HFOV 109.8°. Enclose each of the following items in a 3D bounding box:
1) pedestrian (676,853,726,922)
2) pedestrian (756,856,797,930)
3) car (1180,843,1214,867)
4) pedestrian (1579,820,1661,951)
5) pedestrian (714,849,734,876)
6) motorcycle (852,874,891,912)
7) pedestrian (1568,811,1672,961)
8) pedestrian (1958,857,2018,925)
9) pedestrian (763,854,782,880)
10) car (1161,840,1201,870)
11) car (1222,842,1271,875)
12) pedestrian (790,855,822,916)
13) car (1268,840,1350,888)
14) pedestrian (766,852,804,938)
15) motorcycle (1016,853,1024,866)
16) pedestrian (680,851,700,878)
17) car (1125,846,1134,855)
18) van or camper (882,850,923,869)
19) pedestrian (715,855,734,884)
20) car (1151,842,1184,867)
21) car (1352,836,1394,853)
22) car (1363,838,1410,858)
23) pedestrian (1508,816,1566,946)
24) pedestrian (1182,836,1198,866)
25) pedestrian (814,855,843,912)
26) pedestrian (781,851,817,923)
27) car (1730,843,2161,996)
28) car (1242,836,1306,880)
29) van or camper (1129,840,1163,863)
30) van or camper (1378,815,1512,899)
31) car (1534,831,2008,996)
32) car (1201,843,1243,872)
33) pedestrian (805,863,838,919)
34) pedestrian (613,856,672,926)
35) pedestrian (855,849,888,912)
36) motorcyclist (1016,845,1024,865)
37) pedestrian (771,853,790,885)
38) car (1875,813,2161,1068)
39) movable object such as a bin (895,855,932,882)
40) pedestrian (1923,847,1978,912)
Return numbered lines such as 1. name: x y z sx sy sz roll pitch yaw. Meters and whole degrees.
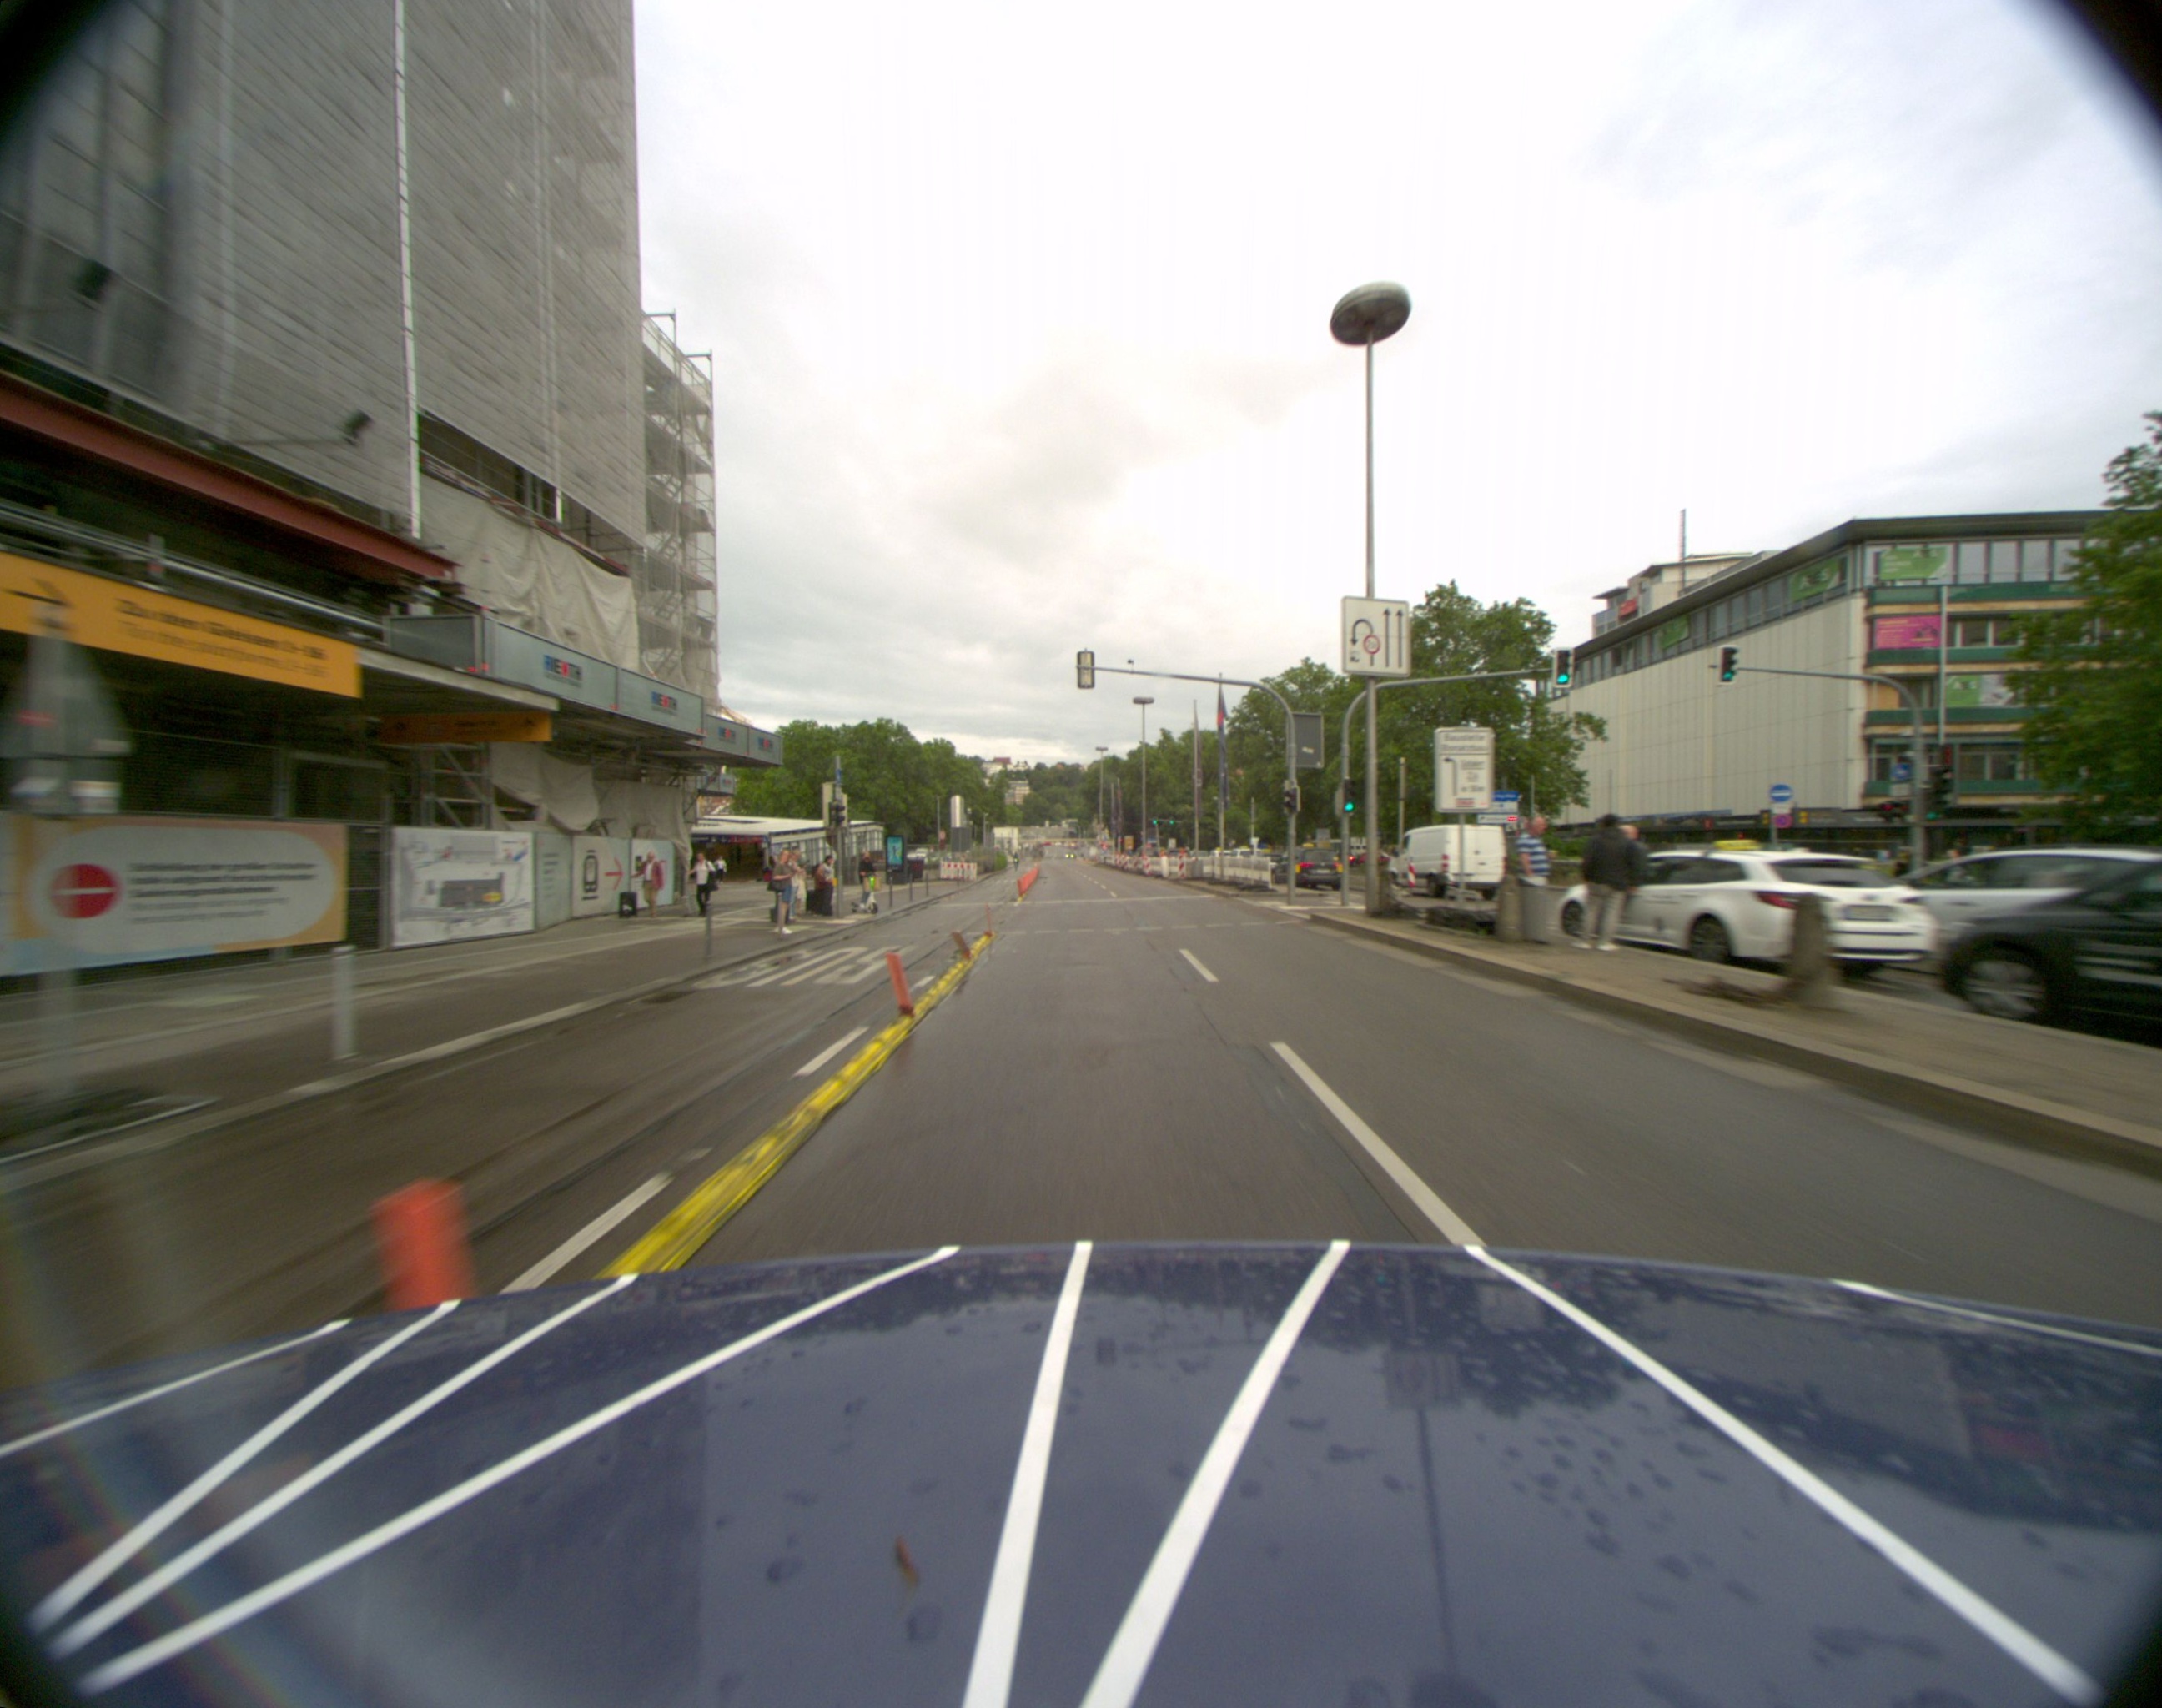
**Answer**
1. pedestrian: -9.602 0.837 19.227 0.737 1.668 0.957 2 1 2
2. pedestrian: -6.954 0.879 17.386 0.559 1.631 0.752 2 1 4
3. car: 9.003 0.085 59.398 1.895 1.692 4.421 -2 0 -1
4. pedestrian: 7.303 0.418 10.324 0.653 1.701 0.593 -2 1 1
5. pedestrian: -24.513 0.587 52.208 0.951 1.783 0.770 0 1 0
6. motorcycle: -5.941 1.086 21.537 0.587 1.015 1.236 -2 1 -40
7. pedestrian: 6.619 0.384 9.355 0.784 1.765 0.606 2 1 -9
8. pedestrian: 23.144 0.935 19.398 0.751 1.676 0.560 2 1 0
9. pedestrian: -19.069 0.790 47.013 0.857 1.584 0.709 -3 2 -5
10. car: 6.400 0.069 49.227 1.998 1.806 4.811 0 0 1
11. car: 9.093 0.234 42.022 1.788 1.712 4.483 0 0 1
12. pedestrian: -7.551 0.856 20.883 0.565 1.641 0.615 2 1 8
13. car: 8.884 0.348 30.030 1.908 1.689 4.500 -2 0 1
14. pedestrian: -6.200 0.841 15.946 0.560 1.749 0.751 2 1 -10
15. motorcycle: -6.120 0.555 76.426 0.730 1.221 2.160 0 0 -4
16. pedestrian: -26.545 0.722 51.625 0.951 1.783 0.770 0 1 0
17. car: 9.044 -0.661 143.025 1.682 1.533 3.174 0 0 3
18. van or camper: -22.982 0.764 97.767 2.391 2.387 6.046 0 -1 -44
19. pedestrian: -21.014 0.914 44.798 0.916 1.637 0.700 -1 1 -36
20. car: 6.471 0.045 57.243 1.998 1.760 4.811 0 0 1
21. car: 38.899 -1.271 101.332 4.828 2.002 2.037 -2 0 8
22. car: 28.941 -0.563 72.009 3.734 1.534 1.855 -3 2 40
23. pedestrian: 6.451 0.363 10.749 0.558 1.765 0.754 3 1 37
24. pedestrian: 7.272 -0.221 50.851 0.878 2.002 0.821 -1 1 -3
25. pedestrian: -7.401 0.852 22.308 0.559 1.641 0.615 2 1 4
26. pedestrian: -6.957 0.799 18.767 0.559 1.742 0.711 2 1 4
27. car: 12.112 0.700 10.750 1.934 1.681 4.682 1 1 3
28. car: 9.062 0.186 36.035 1.908 1.887 4.523 -2 0 1
29. van or camper: 5.528 -0.232 65.276 1.951 1.809 5.389 1 0 -4
30. van or camper: 12.193 0.068 25.952 1.998 2.500 5.370 2 1 1
31. car: 8.369 0.587 10.068 2.019 1.612 4.843 1 0 3
32. car: 9.256 0.199 50.315 1.919 1.840 4.565 0 0 0
33. pedestrian: -6.990 0.987 20.461 0.559 1.441 0.711 2 1 4
34. pedestrian: -10.910 0.893 18.954 0.734 1.672 1.110 -1 1 5
35. pedestrian: -5.937 0.731 21.520 0.582 1.731 0.819 -2 1 -40
36. motorcyclist: -6.106 0.127 76.190 0.726 2.024 0.587 0 0 -4
37. pedestrian: -19.006 0.932 48.100 0.806 2.002 0.765 -3 2 -5
38. car: 8.089 0.593 4.508 1.934 1.681 4.682 1 1 3
39. movable object such as a bin: -9.412 0.787 42.744 1.299 1.483 1.537 0 1 31
40. pedestrian: 23.315 0.677 20.378 0.599 1.676 0.659 -6 1 0
